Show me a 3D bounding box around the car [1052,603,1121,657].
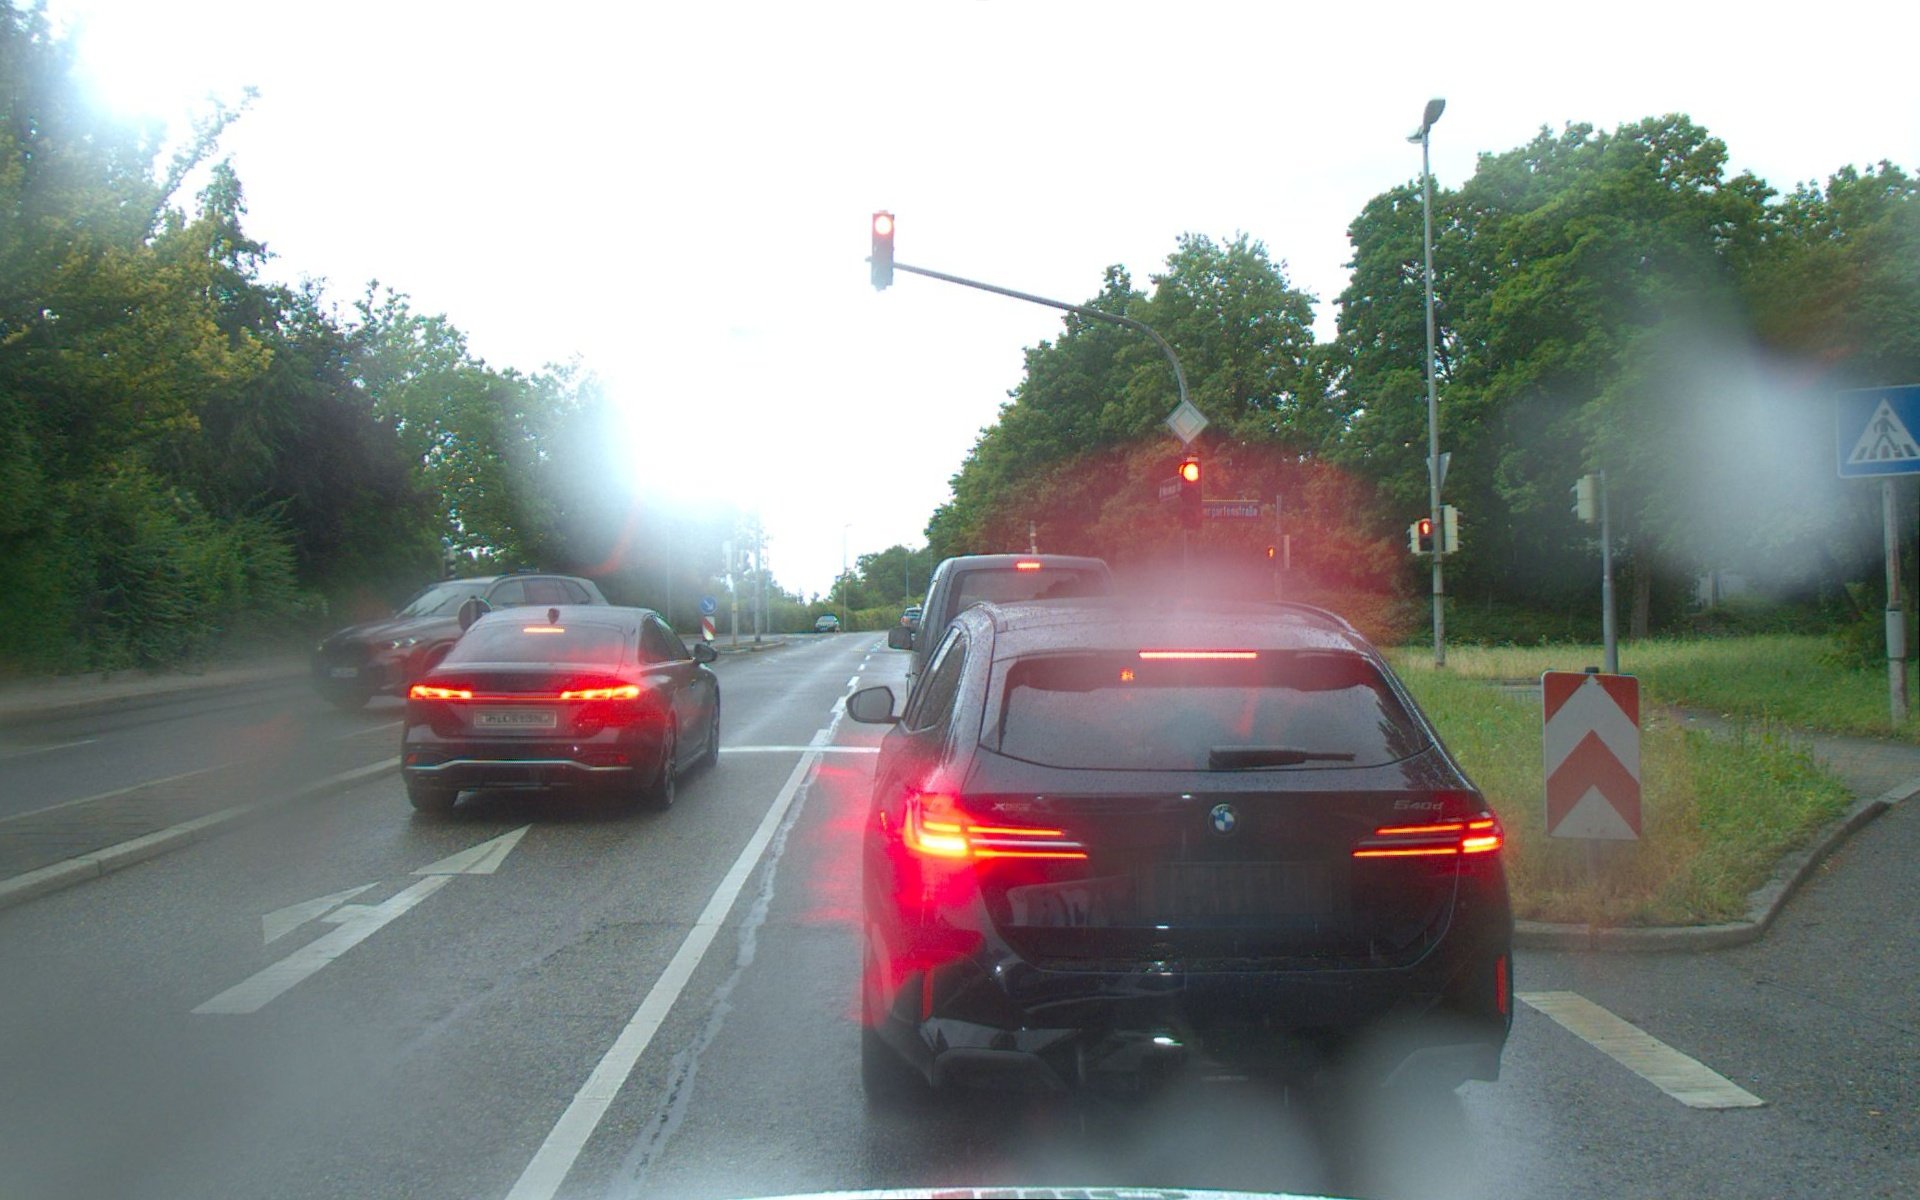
[{"bbox_3d":[3.972,0.918,52.444,1.835,1.569,3.952,-2,0,0],"label":"car"}]

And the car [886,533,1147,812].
[{"bbox_3d":[0.383,0.511,13.327,1.781,1.901,3.952,0,0,0],"label":"car"}]

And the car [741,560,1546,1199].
[{"bbox_3d":[0.531,0.741,6.160,1.858,1.578,4.616,0,-1,3],"label":"car"}]

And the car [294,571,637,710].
[{"bbox_3d":[-6.802,0.501,23.343,1.954,1.747,4.714,-2,0,26],"label":"car"}]

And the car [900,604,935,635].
[{"bbox_3d":[-2.175,0.983,84.630,1.663,1.452,3.513,-2,0,0],"label":"car"}]

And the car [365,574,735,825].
[{"bbox_3d":[-2.967,0.663,12.963,1.954,1.554,4.325,-2,0,-3],"label":"car"}]

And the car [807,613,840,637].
[{"bbox_3d":[-11.256,2.054,136.271,1.951,1.858,4.002,-2,-1,6],"label":"car"}]
